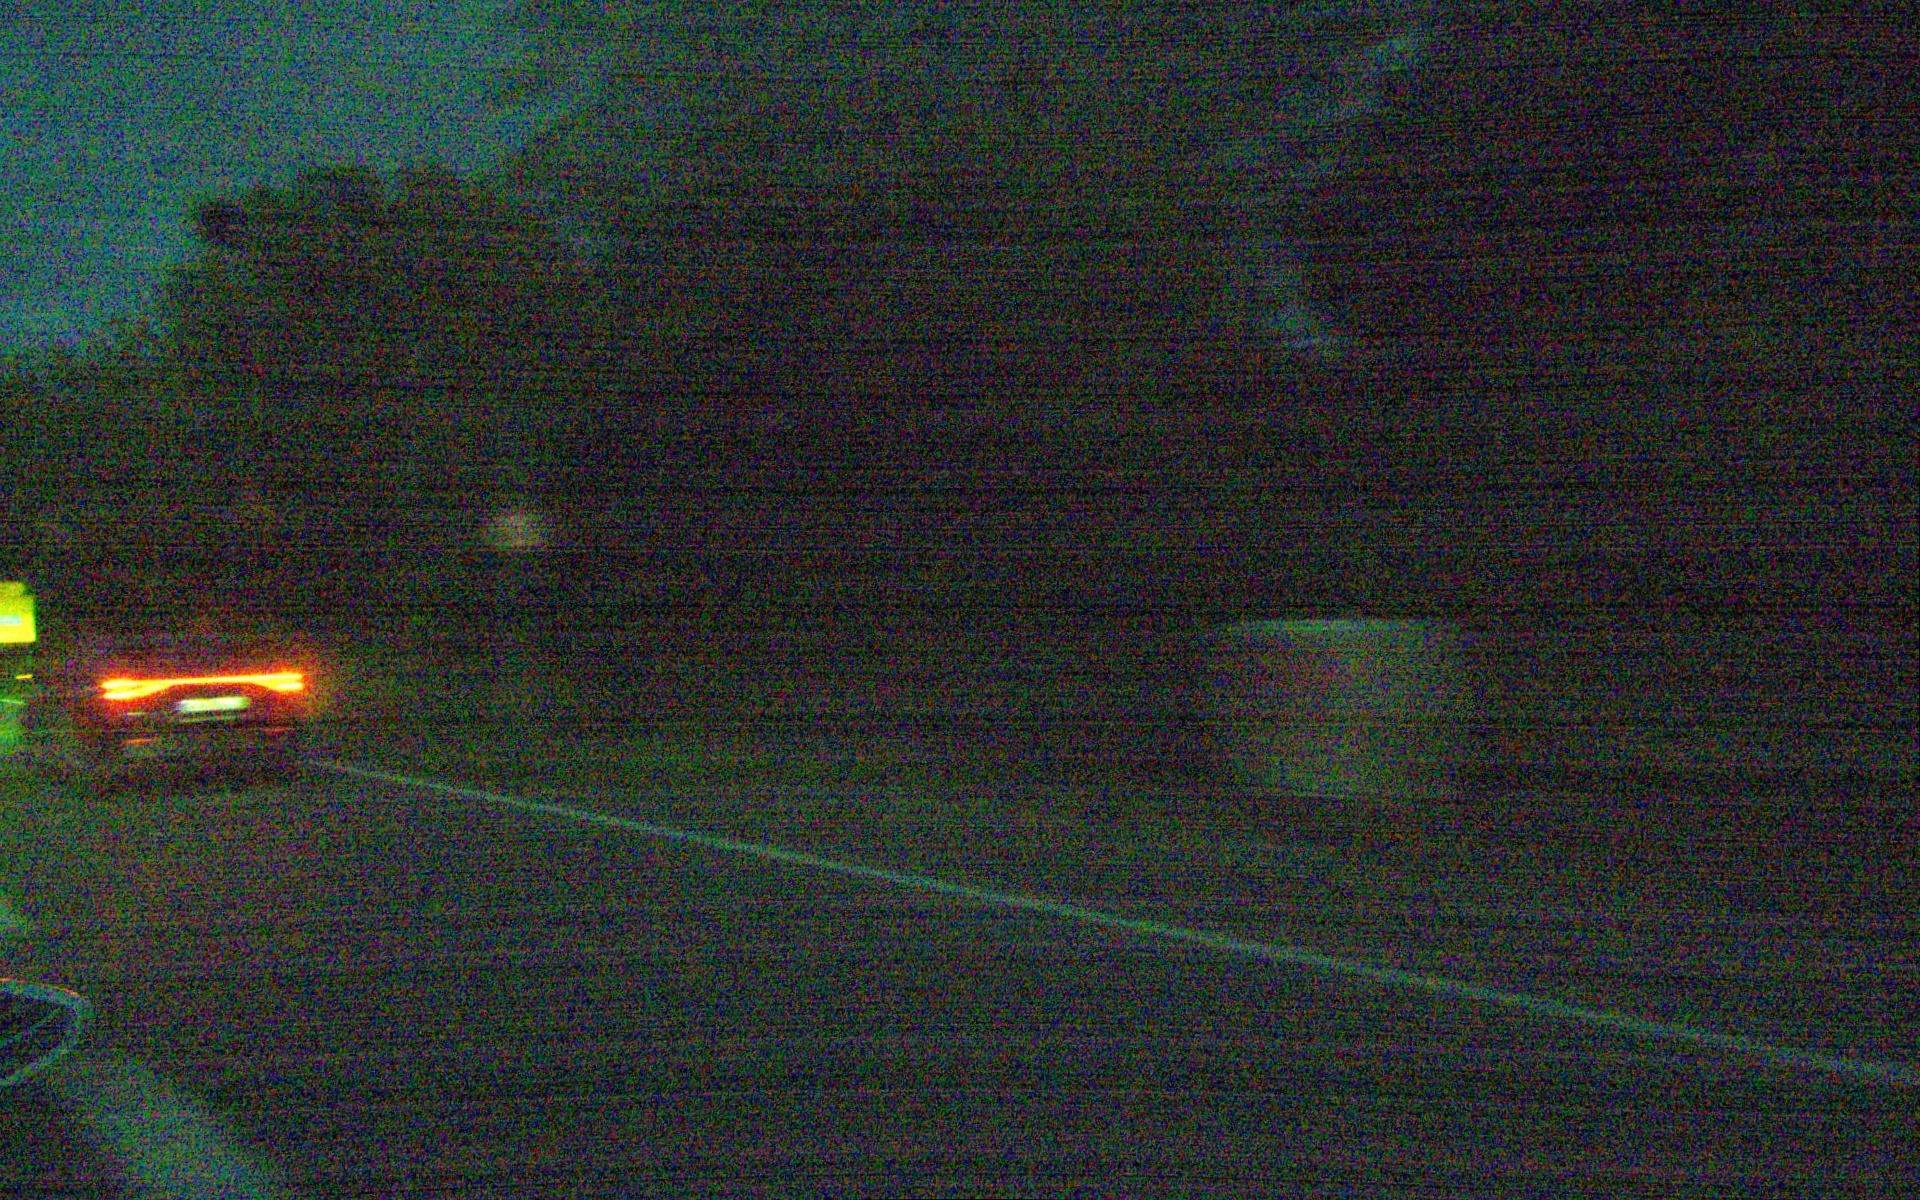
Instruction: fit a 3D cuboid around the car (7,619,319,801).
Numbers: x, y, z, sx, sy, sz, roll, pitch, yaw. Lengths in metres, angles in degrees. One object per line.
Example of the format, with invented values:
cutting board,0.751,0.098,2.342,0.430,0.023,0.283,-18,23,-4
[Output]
car,-9.098,1.093,11.293,4.503,1.640,1.892,-2,-2,40
